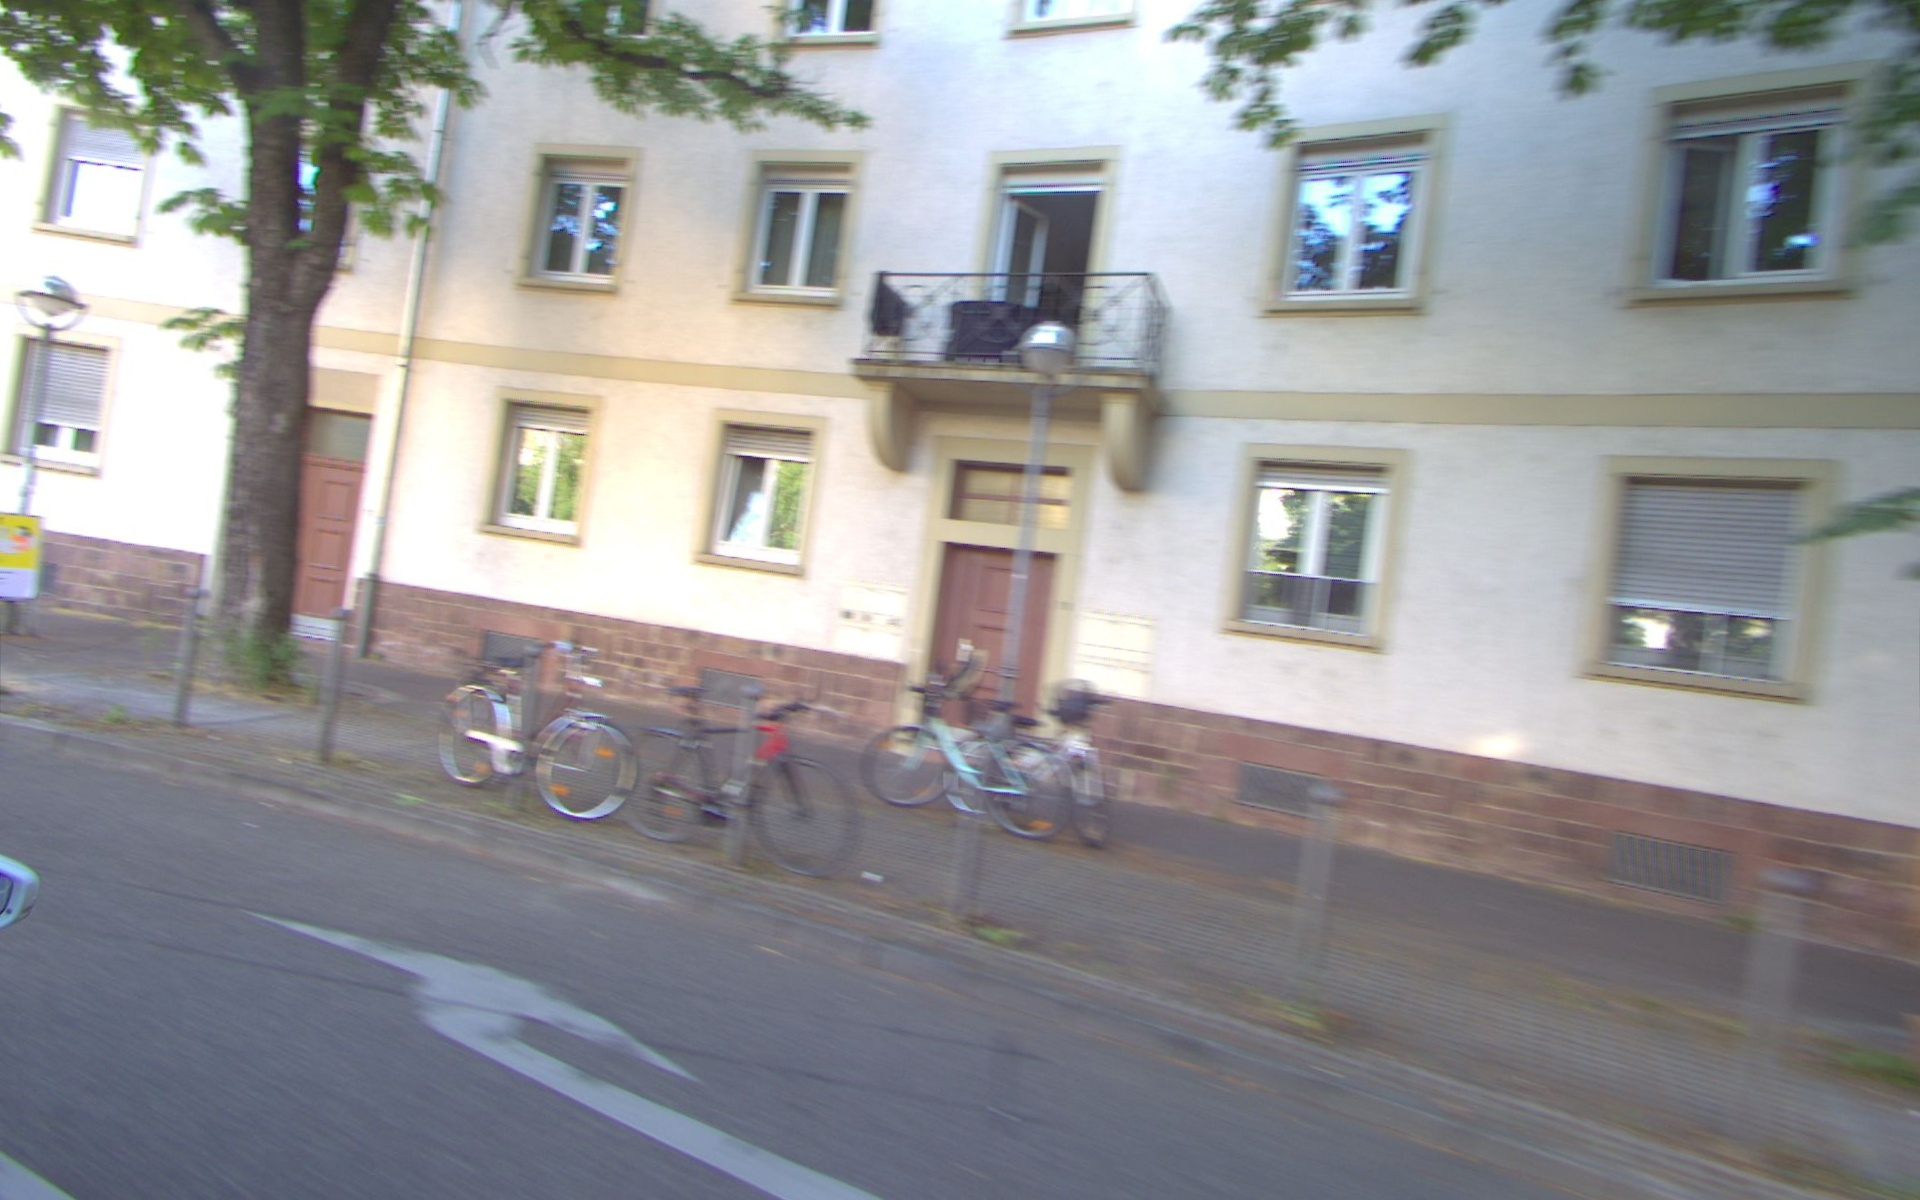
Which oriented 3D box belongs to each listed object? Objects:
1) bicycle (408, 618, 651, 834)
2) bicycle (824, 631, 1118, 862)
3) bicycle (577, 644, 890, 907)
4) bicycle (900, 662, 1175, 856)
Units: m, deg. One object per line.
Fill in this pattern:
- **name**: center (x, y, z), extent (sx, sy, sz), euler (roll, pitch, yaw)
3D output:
- **bicycle**: center (-2.809, 0.761, 6.500), extent (1.608, 1.077, 0.481), euler (8, 1, 30)
- **bicycle**: center (0.053, 1.008, 7.407), extent (1.934, 1.292, 0.718), euler (7, 0, 31)
- **bicycle**: center (-1.324, 0.926, 5.745), extent (1.710, 1.121, 0.527), euler (8, 1, 28)
- **bicycle**: center (0.578, 1.187, 7.867), extent (1.934, 1.120, 0.668), euler (7, -2, 33)
